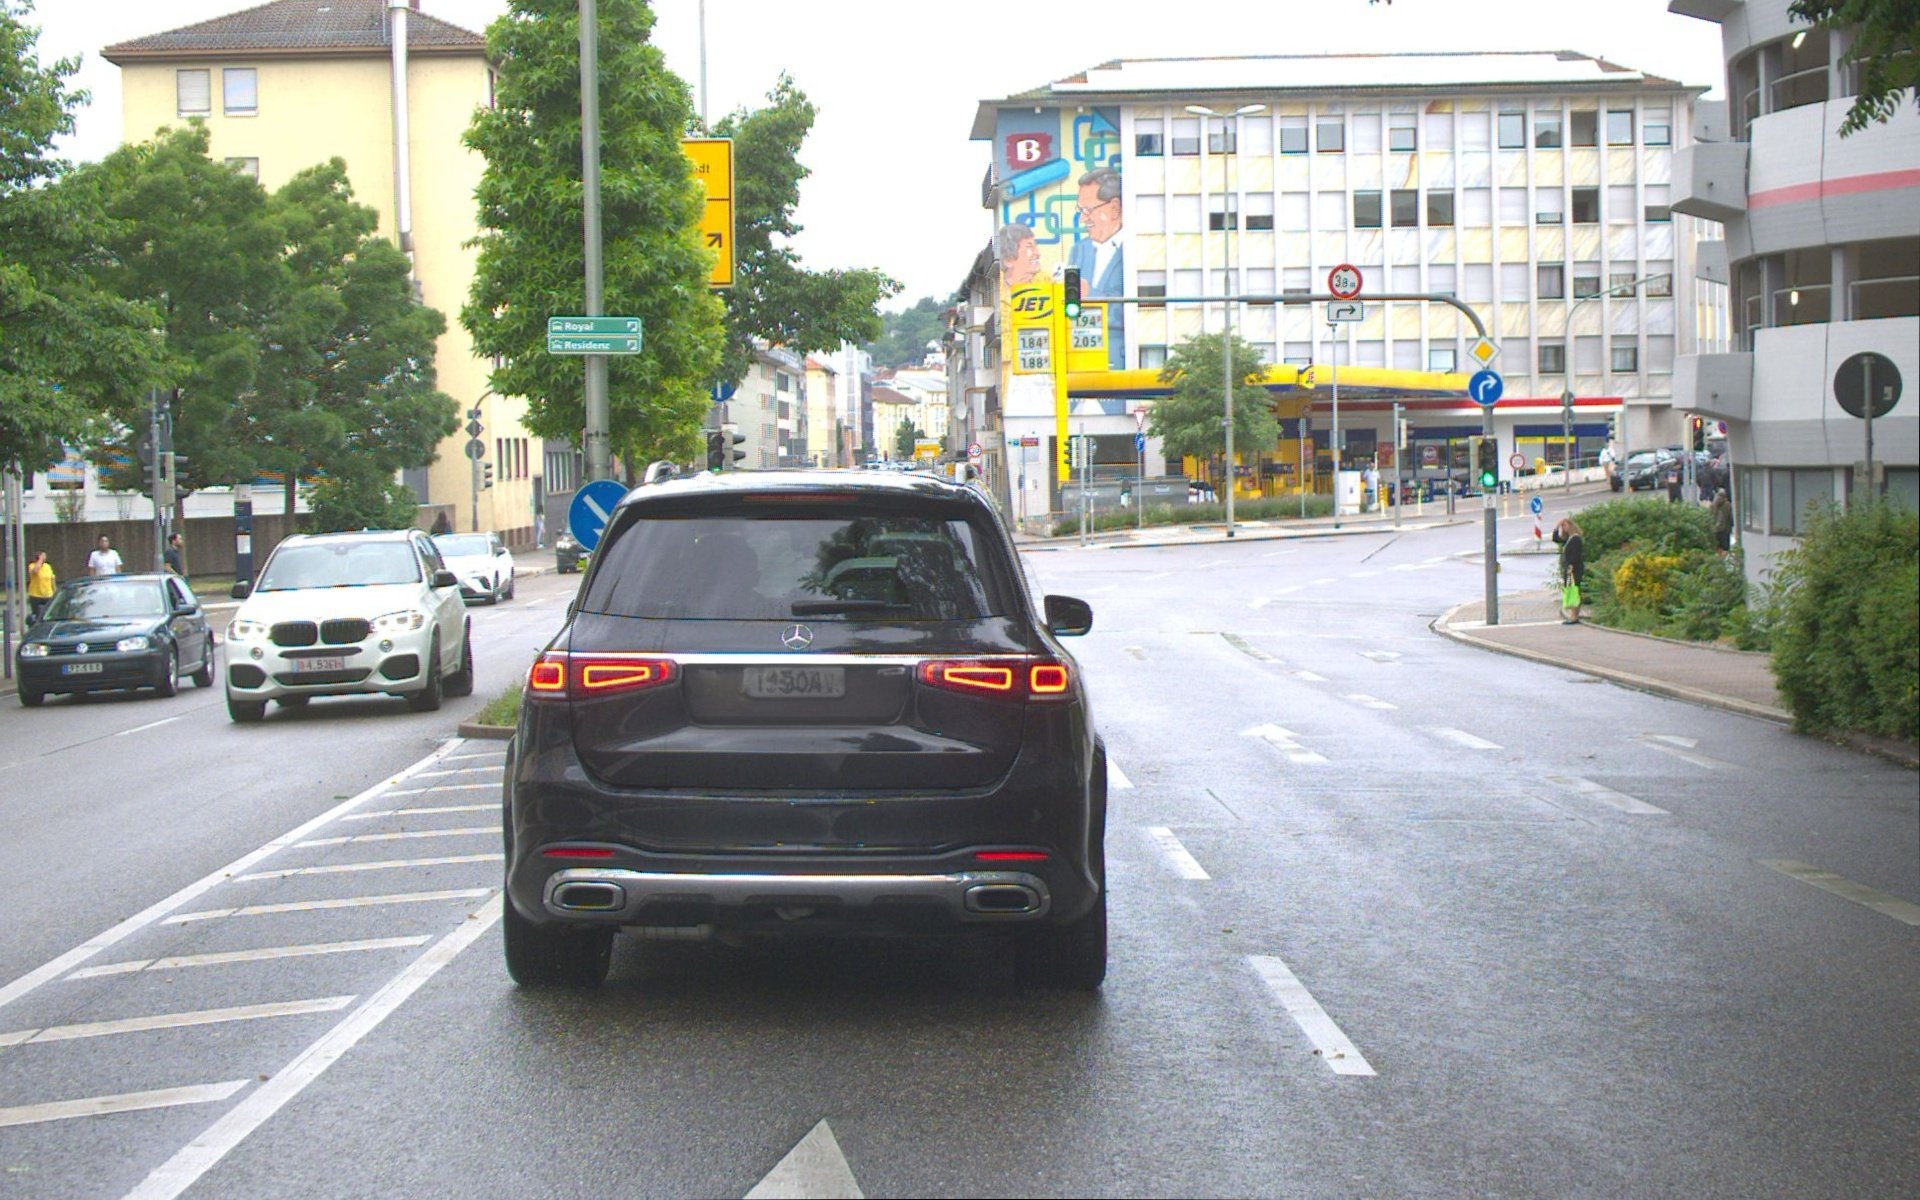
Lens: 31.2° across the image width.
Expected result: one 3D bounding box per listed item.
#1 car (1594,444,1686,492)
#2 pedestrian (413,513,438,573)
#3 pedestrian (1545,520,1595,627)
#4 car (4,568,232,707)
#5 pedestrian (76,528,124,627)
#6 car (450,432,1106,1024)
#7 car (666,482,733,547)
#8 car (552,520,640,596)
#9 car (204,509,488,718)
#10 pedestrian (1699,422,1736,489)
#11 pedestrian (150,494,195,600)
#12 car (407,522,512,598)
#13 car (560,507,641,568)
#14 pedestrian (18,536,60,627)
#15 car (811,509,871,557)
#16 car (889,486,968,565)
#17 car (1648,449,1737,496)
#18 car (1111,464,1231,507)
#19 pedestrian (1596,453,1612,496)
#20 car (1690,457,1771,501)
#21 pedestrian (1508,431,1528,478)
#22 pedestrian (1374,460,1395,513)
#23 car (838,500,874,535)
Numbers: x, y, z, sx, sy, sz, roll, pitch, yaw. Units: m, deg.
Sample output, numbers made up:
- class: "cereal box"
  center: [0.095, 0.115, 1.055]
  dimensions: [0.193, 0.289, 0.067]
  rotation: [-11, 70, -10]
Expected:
- class: "car"
  center: [25.425, -4.947, 128.502]
  dimensions: [1.997, 1.700, 3.993]
  rotation: [0, 2, 33]
- class: "pedestrian"
  center: [-15.714, -1.674, 101.062]
  dimensions: [0.648, 1.721, 0.629]
  rotation: [-2, 2, -4]
- class: "pedestrian"
  center: [9.814, -0.425, 55.317]
  dimensions: [0.646, 1.704, 0.470]
  rotation: [1, 0, 36]
- class: "car"
  center: [-9.700, 0.397, 39.871]
  dimensions: [1.745, 1.407, 3.971]
  rotation: [-3, 1, -2]
- class: "pedestrian"
  center: [-14.687, -0.389, 58.709]
  dimensions: [0.689, 1.650, 0.613]
  rotation: [-2, 2, -7]
- class: "car"
  center: [-0.583, 0.383, 12.605]
  dimensions: [1.993, 1.794, 4.000]
  rotation: [1, 0, -1]
- class: "car"
  center: [-7.823, -2.564, 103.589]
  dimensions: [1.792, 1.847, 4.793]
  rotation: [-3, 1, -3]
- class: "car"
  center: [-8.400, -0.985, 79.520]
  dimensions: [1.732, 1.620, 4.232]
  rotation: [-3, 1, -3]
- class: "car"
  center: [-5.905, 0.081, 33.599]
  dimensions: [1.891, 1.805, 4.575]
  rotation: [-3, 1, 0]
- class: "pedestrian"
  center: [24.377, -4.657, 110.589]
  dimensions: [0.854, 2.121, 0.948]
  rotation: [-2, 2, -6]
- class: "pedestrian"
  center: [-13.196, -0.899, 57.634]
  dimensions: [0.687, 1.751, 0.718]
  rotation: [-1, 2, -11]
- class: "car"
  center: [-10.490, -0.855, 72.280]
  dimensions: [1.732, 1.464, 4.232]
  rotation: [-3, 1, -3]
- class: "car"
  center: [-10.132, -1.781, 97.143]
  dimensions: [1.888, 1.581, 4.537]
  rotation: [-3, 1, -2]
- class: "pedestrian"
  center: [-15.874, -0.321, 59.238]
  dimensions: [0.439, 1.528, 0.545]
  rotation: [-1, 2, 14]
- class: "car"
  center: [-4.235, -2.383, 122.844]
  dimensions: [1.993, 1.609, 4.190]
  rotation: [1, 0, 0]
- class: "car"
  center: [-0.847, -1.956, 91.024]
  dimensions: [1.993, 2.007, 4.000]
  rotation: [1, 0, -1]
- class: "car"
  center: [28.300, -4.926, 132.769]
  dimensions: [1.997, 1.700, 3.993]
  rotation: [0, 2, 33]
- class: "car"
  center: [7.263, -3.947, 118.505]
  dimensions: [1.732, 1.371, 3.998]
  rotation: [-3, 2, -44]
- class: "pedestrian"
  center: [24.750, -4.809, 132.127]
  dimensions: [0.484, 1.635, 0.438]
  rotation: [1, 0, 28]
- class: "car"
  center: [27.934, -4.390, 124.522]
  dimensions: [1.799, 1.520, 4.049]
  rotation: [2, 2, 29]
- class: "pedestrian"
  center: [20.590, -5.351, 126.881]
  dimensions: [0.526, 1.721, 0.688]
  rotation: [0, 2, 27]
- class: "pedestrian"
  center: [13.610, -3.635, 110.229]
  dimensions: [0.572, 1.691, 0.631]
  rotation: [1, 0, 1]
- class: "car"
  center: [-6.298, -4.989, 207.667]
  dimensions: [1.993, 2.007, 4.000]
  rotation: [1, 0, 0]
